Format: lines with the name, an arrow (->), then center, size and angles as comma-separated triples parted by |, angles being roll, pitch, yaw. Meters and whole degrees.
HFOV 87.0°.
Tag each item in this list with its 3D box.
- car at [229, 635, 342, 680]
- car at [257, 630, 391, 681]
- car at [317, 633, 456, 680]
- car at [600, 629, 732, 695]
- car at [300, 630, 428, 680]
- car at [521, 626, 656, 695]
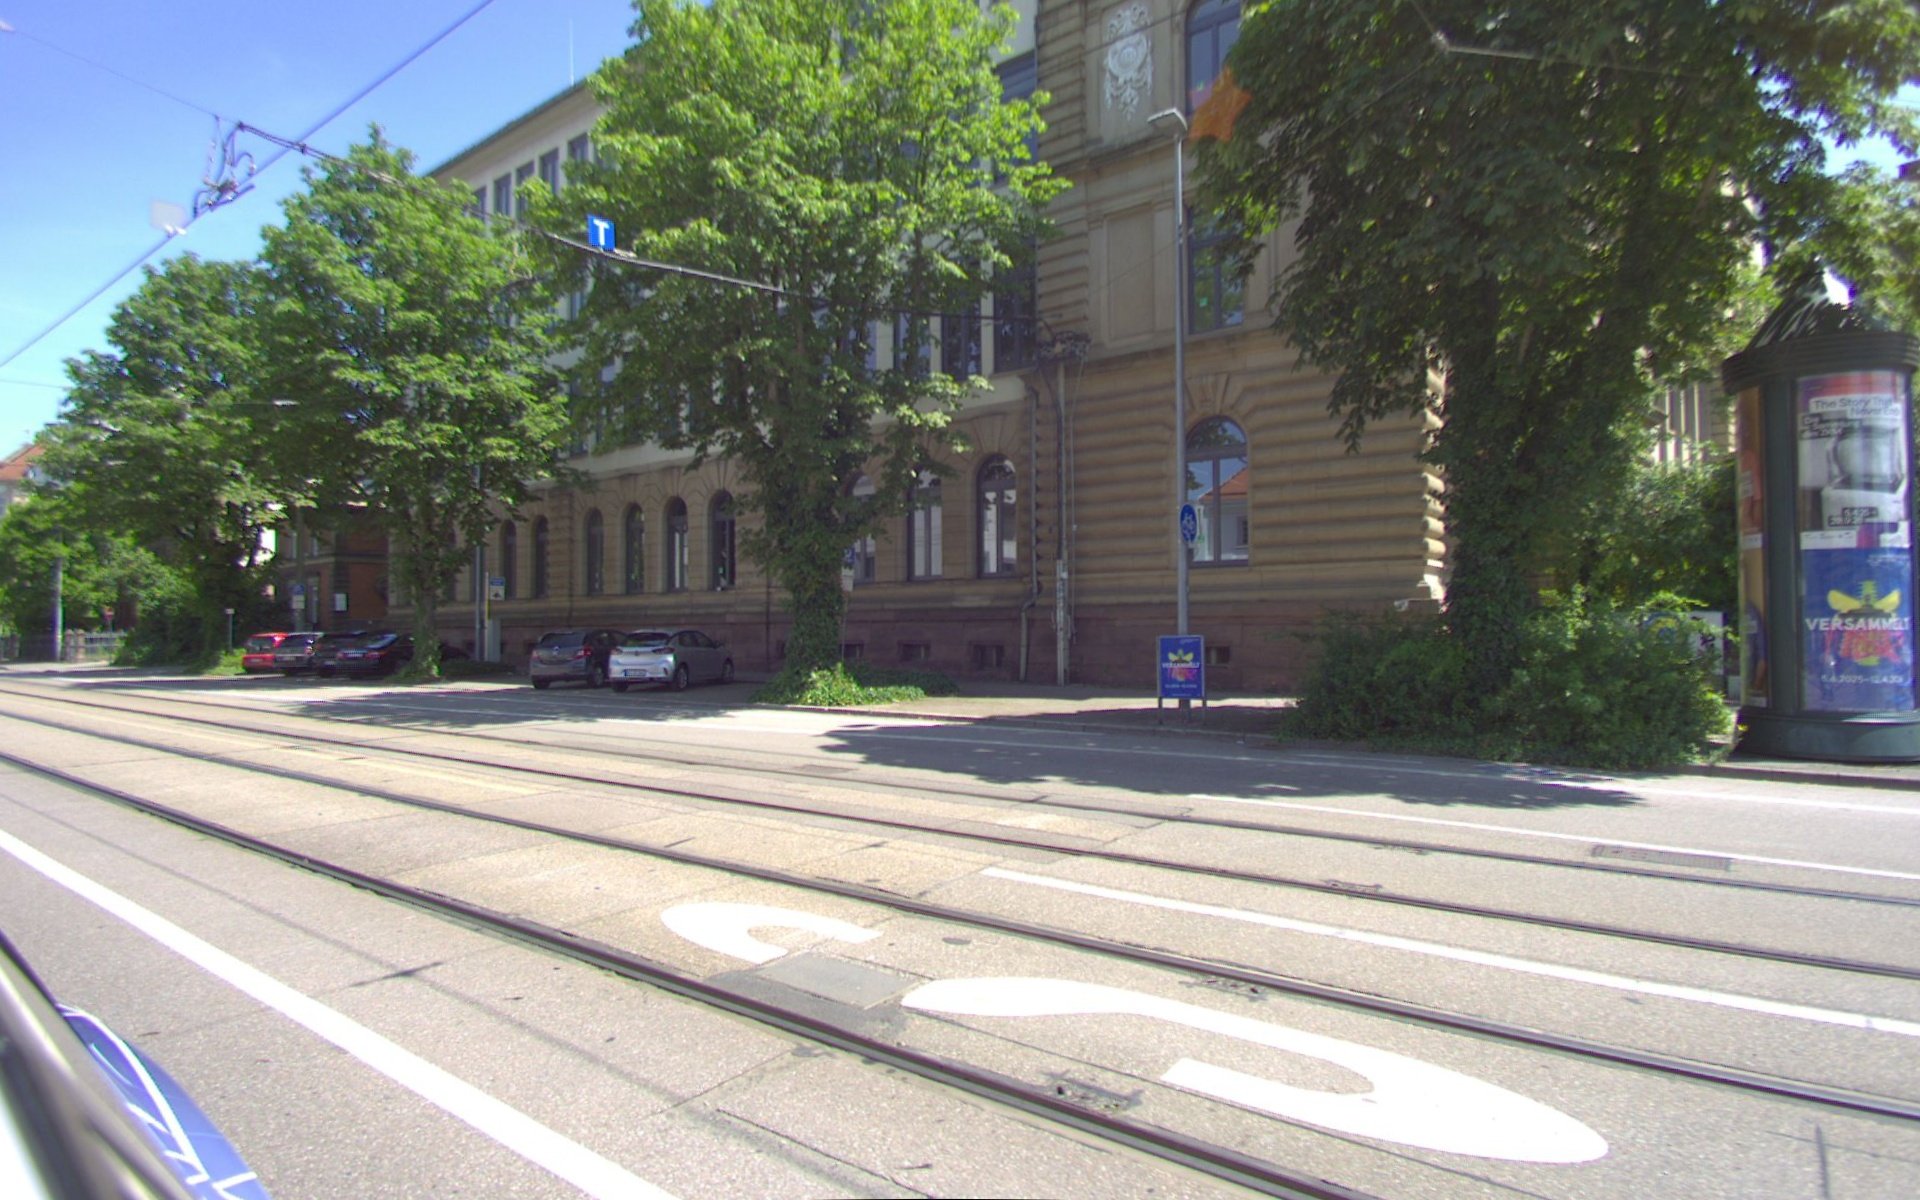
car -> -25.048, 2.120, 37.694 | 1.652, 1.527, 3.340 | -1, -1, 11
car -> -22.375, 1.912, 35.823 | 1.650, 1.596, 4.312 | -1, 0, 8
car -> -17.938, 1.754, 31.872 | 1.652, 1.385, 3.919 | -1, -2, 11
car -> -6.904, 1.418, 24.112 | 1.683, 1.416, 3.539 | -1, -1, 9
car -> -20.047, 1.825, 34.219 | 1.773, 1.589, 3.809 | -1, -2, 8
car -> -9.288, 1.479, 25.611 | 1.650, 1.531, 3.667 | -1, 0, 9
